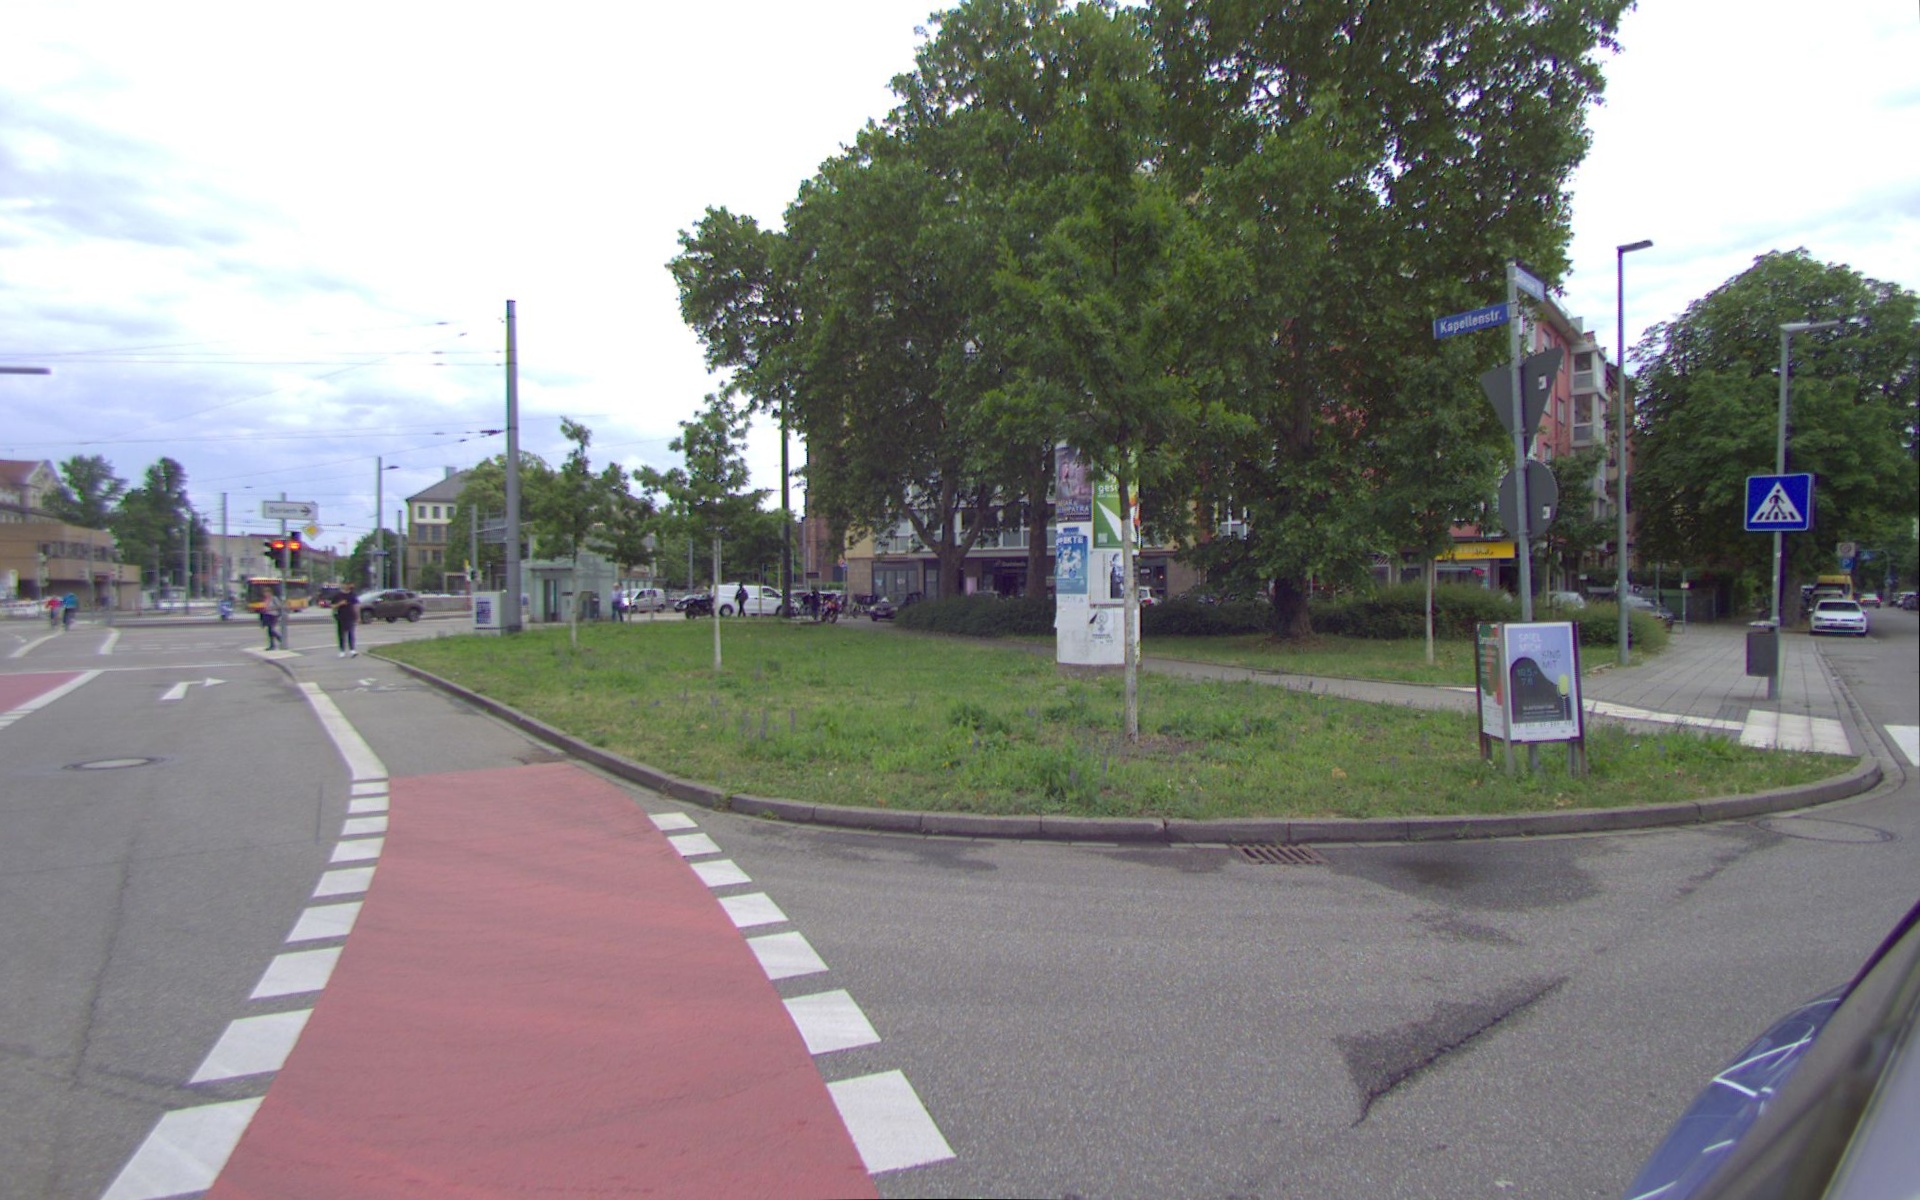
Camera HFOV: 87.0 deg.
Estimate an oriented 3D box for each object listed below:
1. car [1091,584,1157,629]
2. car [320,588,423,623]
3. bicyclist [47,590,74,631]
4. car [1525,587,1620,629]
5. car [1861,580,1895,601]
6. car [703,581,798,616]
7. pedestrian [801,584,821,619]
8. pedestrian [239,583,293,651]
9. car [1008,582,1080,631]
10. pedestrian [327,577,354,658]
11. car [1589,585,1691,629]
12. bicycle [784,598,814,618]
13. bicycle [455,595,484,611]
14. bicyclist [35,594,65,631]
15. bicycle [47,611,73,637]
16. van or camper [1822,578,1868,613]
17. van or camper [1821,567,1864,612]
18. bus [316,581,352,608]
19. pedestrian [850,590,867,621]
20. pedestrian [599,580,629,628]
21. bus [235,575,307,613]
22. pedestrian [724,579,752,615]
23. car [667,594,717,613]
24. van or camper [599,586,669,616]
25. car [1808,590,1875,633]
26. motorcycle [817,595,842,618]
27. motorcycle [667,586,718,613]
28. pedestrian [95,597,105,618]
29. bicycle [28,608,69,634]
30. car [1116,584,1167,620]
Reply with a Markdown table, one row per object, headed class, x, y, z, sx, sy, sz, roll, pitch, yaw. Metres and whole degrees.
| class | x | y | z | sx | sy | sz | roll | pitch | yaw |
| --- | --- | --- | --- | --- | --- | --- | --- | --- | --- |
| car | 6.153 | 0.229 | 37.627 | 1.836 | 1.567 | 4.451 | 0 | 0 | 17 |
| car | -29.263 | 0.258 | 50.467 | 1.784 | 1.660 | 4.194 | 0 | 0 | 25 |
| bicyclist | -41.582 | 0.476 | 46.775 | 0.859 | 1.874 | 1.046 | -2 | 1 | -41 |
| car | 24.840 | 0.288 | 41.210 | 1.831 | 1.567 | 4.462 | -1 | 1 | 11 |
| car | 90.158 | -0.949 | 99.443 | 2.012 | 2.011 | 4.718 | -2 | 0 | 38 |
| car | -13.144 | -0.088 | 63.443 | 5.617 | 2.039 | 2.032 | -1 | -1 | -17 |
| pedestrian | -7.105 | 0.088 | 48.312 | 0.629 | 1.659 | 0.866 | 0 | 0 | 20 |
| pedestrian | -20.146 | 0.496 | 29.384 | 0.724 | 1.931 | 1.101 | -1 | -1 | 11 |
| car | 3.252 | 0.218 | 38.525 | 1.836 | 1.744 | 4.451 | 0 | 0 | 17 |
| pedestrian | -14.755 | 0.402 | 24.103 | 0.526 | 1.867 | 0.987 | -1 | 0 | -32 |
| car | 26.839 | 0.233 | 40.121 | 1.832 | 1.567 | 4.460 | -1 | 1 | 12 |
| bicycle | -7.493 | 0.377 | 47.057 | 1.251 | 0.929 | 0.590 | 0 | 0 | 24 |
| bicycle | -43.331 | 0.277 | 89.417 | 2.224 | 1.348 | 0.707 | -1 | -1 | -30 |
| bicyclist | -43.447 | 0.573 | 48.315 | 0.887 | 1.754 | 0.876 | 0 | 0 | 32 |
| bicycle | -41.622 | 1.088 | 46.824 | 0.853 | 1.118 | 2.298 | 0 | 0 | -41 |
| van or camper | 53.241 | -0.279 | 60.932 | 1.991 | 2.039 | 3.941 | 0 | 0 | 41 |
| van or camper | 56.389 | -0.674 | 64.708 | 1.991 | 2.807 | 3.941 | 0 | 0 | 41 |
| bus | -80.187 | -0.678 | 129.791 | 2.608 | 3.324 | 11.012 | -1 | 0 | -25 |
| pedestrian | -5.402 | 0.275 | 53.904 | 0.699 | 1.659 | 0.726 | 0 | 0 | -30 |
| pedestrian | -14.435 | 0.153 | 42.234 | 0.874 | 1.955 | 1.016 | 0 | 0 | 5 |
| bus | -61.115 | -0.560 | 90.111 | 2.908 | 3.163 | 11.560 | -1 | 0 | -22 |
| pedestrian | -11.556 | -0.171 | 52.704 | 1.075 | 1.820 | 0.940 | -2 | -1 | 23 |
| car | -21.451 | 0.248 | 81.130 | 1.755 | 1.483 | 3.967 | -2 | 0 | 24 |
| van or camper | -24.081 | 0.067 | 74.959 | 2.169 | 2.039 | 5.118 | -2 | 0 | 22 |
| car | 35.284 | 0.412 | 40.576 | 1.852 | 1.567 | 4.412 | 2 | 2 | 39 |
| motorcycle | -5.830 | 0.297 | 45.208 | 0.856 | 1.010 | 1.016 | 0 | 0 | -27 |
| motorcycle | -12.006 | -0.046 | 45.518 | 0.761 | 1.183 | 2.359 | 0 | 0 | 32 |
| pedestrian | -77.527 | 0.678 | 91.203 | 0.611 | 1.942 | 0.711 | 0 | 0 | -33 |
| bicycle | -43.678 | 0.991 | 48.470 | 2.284 | 1.193 | 0.884 | 0 | 0 | 32 |
| car | 8.545 | 0.075 | 47.339 | 1.836 | 1.567 | 4.451 | 0 | 0 | 17 |
